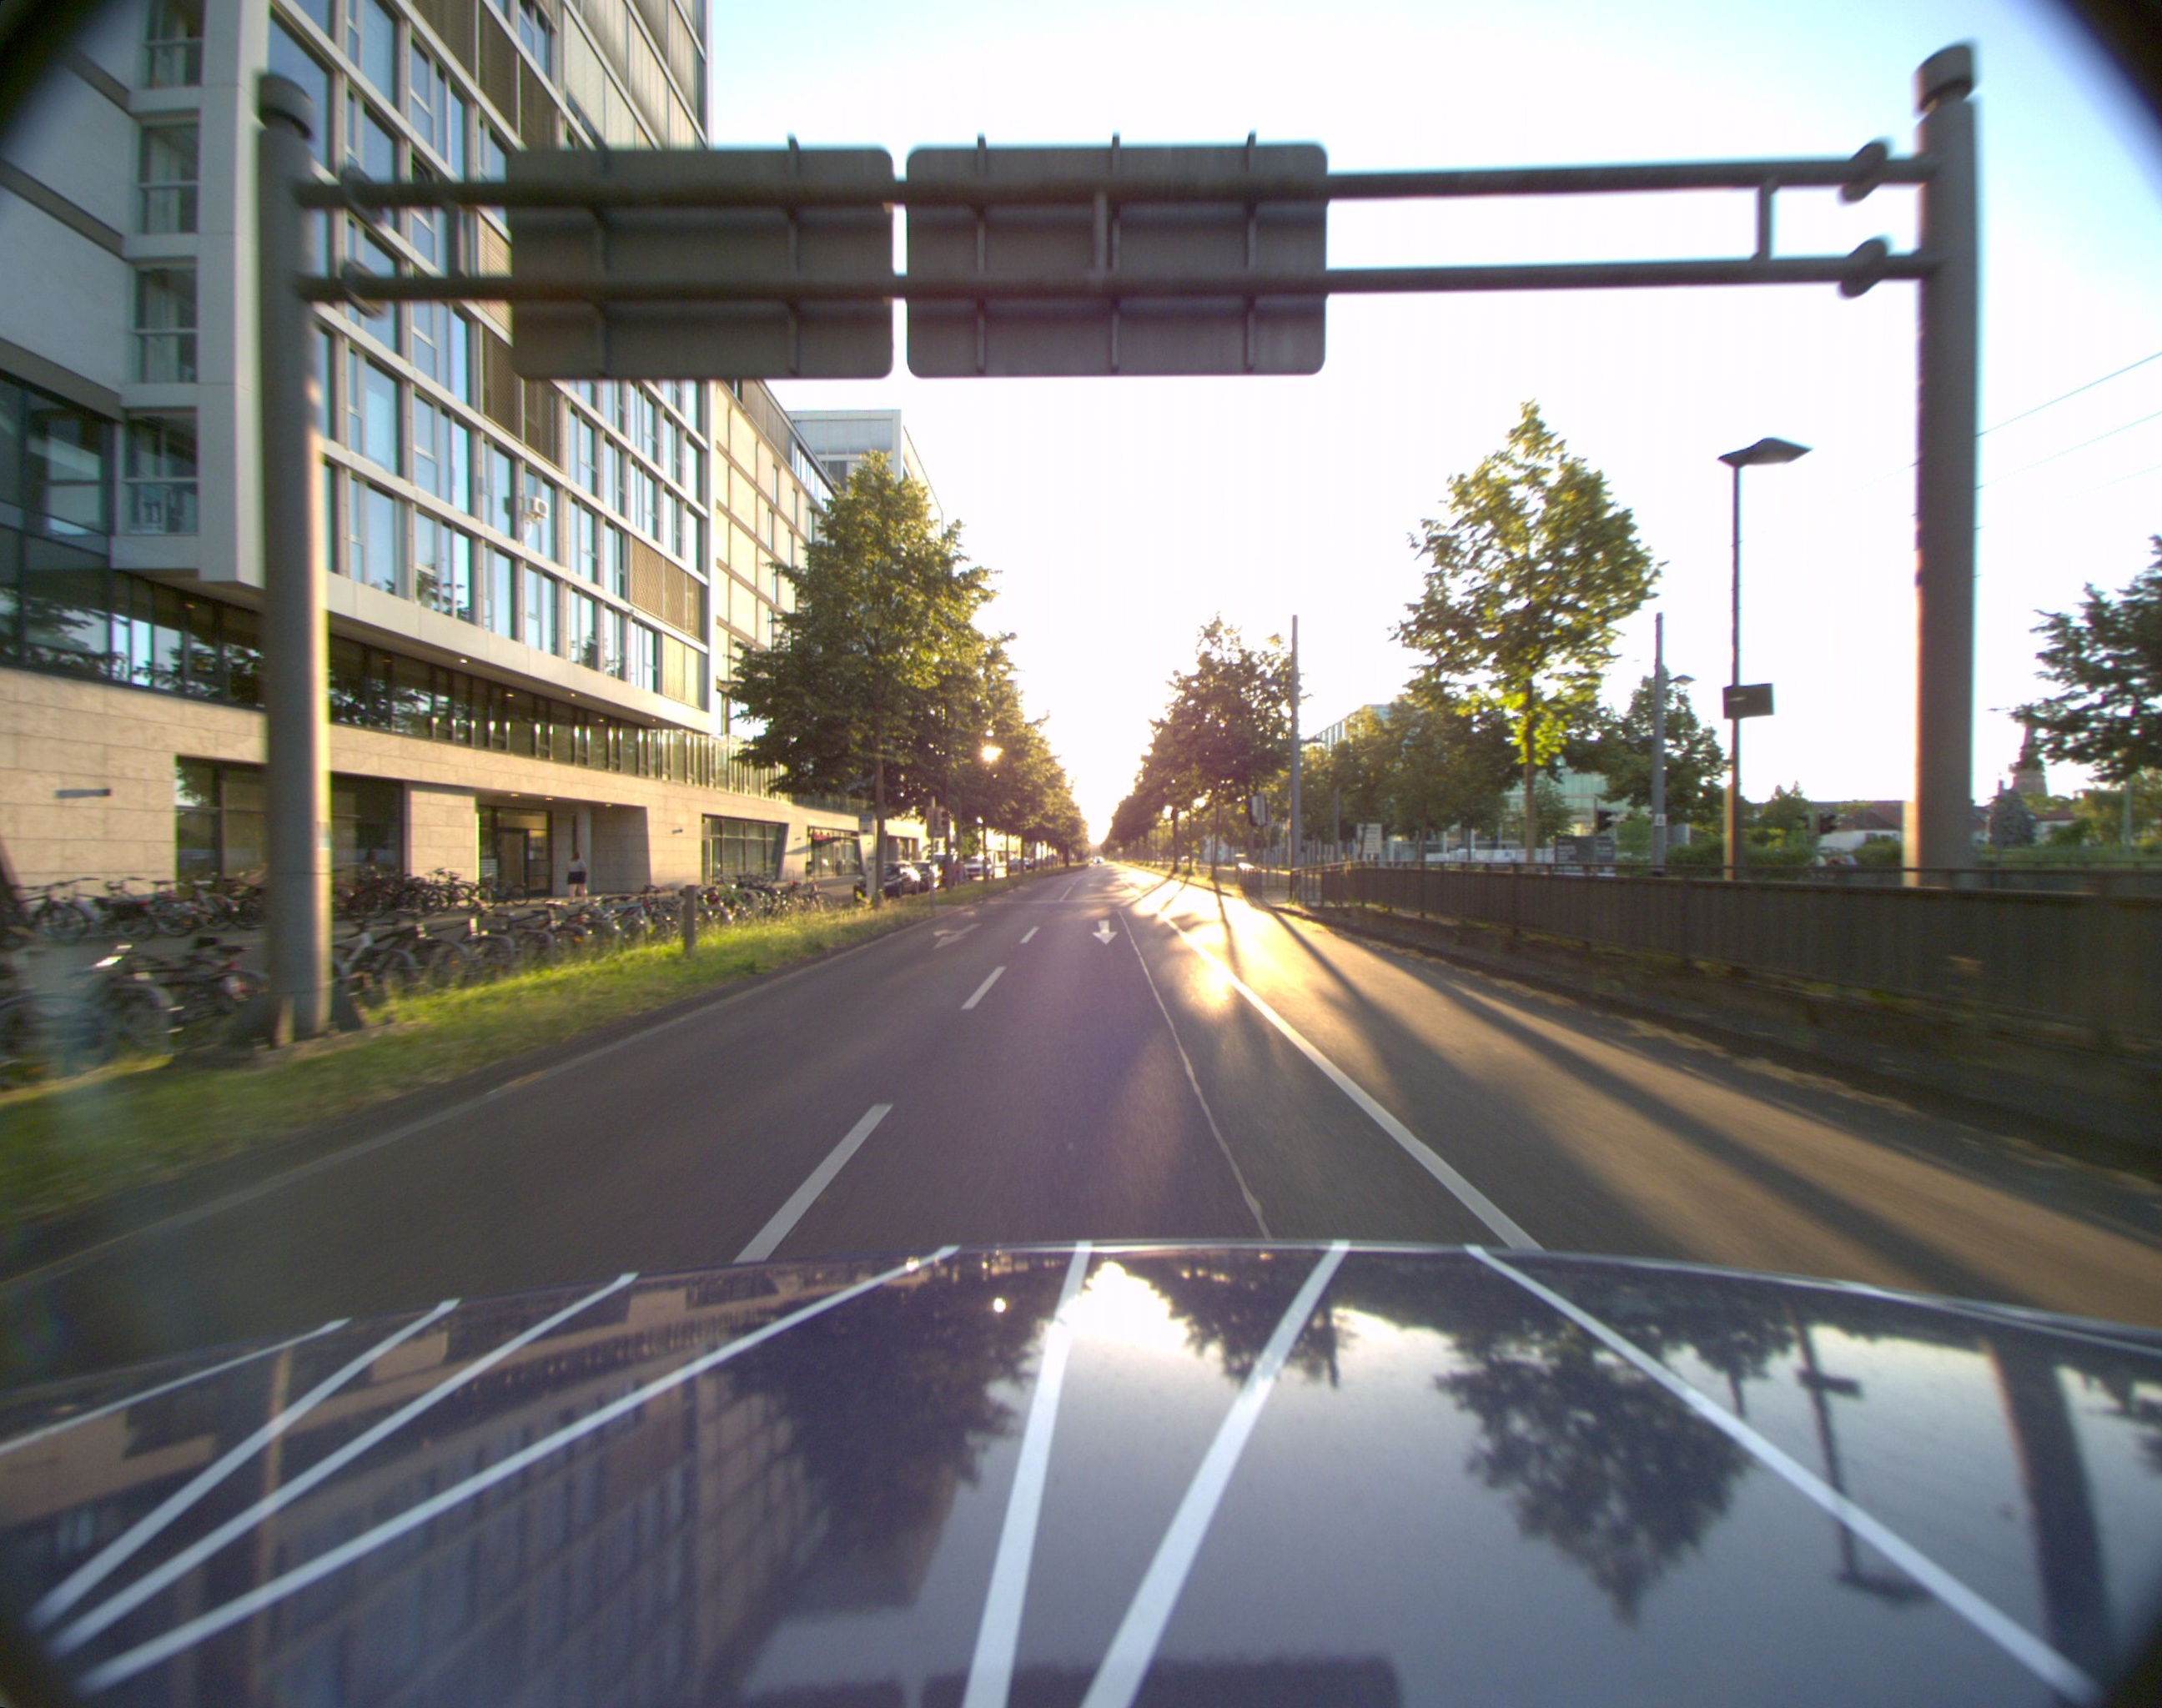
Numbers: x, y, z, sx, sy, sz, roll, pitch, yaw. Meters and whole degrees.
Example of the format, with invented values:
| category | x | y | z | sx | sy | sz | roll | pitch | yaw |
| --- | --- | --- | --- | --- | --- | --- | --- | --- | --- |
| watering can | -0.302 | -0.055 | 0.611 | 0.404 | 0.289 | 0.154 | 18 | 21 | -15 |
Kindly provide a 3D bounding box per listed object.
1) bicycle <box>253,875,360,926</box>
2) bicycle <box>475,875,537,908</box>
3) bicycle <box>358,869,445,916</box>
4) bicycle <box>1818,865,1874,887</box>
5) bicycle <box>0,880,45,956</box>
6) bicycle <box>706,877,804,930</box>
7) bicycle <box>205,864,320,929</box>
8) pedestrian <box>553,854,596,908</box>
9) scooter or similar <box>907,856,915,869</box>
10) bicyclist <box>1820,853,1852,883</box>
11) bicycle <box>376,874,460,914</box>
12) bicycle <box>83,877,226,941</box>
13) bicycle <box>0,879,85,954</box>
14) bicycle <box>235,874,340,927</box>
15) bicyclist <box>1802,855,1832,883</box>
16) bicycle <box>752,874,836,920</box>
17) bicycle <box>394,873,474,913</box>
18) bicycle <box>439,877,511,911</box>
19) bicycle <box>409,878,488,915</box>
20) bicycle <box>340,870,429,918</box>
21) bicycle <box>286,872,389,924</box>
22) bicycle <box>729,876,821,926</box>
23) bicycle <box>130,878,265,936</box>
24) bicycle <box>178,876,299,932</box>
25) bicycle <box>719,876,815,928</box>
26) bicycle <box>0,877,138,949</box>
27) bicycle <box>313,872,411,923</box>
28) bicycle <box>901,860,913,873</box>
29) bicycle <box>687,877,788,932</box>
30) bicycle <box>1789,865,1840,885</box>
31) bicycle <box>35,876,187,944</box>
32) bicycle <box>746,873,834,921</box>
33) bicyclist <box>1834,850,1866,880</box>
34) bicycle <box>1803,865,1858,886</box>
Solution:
| category | x | y | z | sx | sy | sz | roll | pitch | yaw |
| --- | --- | --- | --- | --- | --- | --- | --- | --- | --- |
| bicycle | -17.400 | 1.036 | 17.090 | 1.835 | 1.106 | 0.503 | 0 | 1 | -2 |
| bicycle | -17.407 | 1.137 | 23.016 | 1.579 | 0.981 | 0.404 | 0 | 1 | 2 |
| bicycle | -17.311 | 0.984 | 19.376 | 1.835 | 1.170 | 0.446 | 0 | 1 | 2 |
| bicycle | 37.731 | 1.082 | 37.510 | 0.621 | 1.005 | 2.083 | 0 | 0 | -1 |
| bicycle | -17.398 | 0.988 | 11.747 | 1.988 | 1.135 | 0.503 | 0 | 1 | -2 |
| bicycle | -7.416 | 1.109 | 17.337 | 1.947 | 1.048 | 0.408 | -4 | 1 | -6 |
| bicycle | -17.317 | 0.886 | 16.097 | 1.835 | 1.349 | 0.503 | 0 | 1 | -2 |
| pedestrian | -15.574 | 0.811 | 23.382 | 0.644 | 1.639 | 0.953 | 0 | 0 | 0 |
| scooter or similar | -16.607 | 0.831 | 74.252 | 0.473 | 1.204 | 1.229 | 0 | 0 | 2 |
| bicyclist | 37.049 | 0.700 | 37.278 | 0.621 | 1.448 | 0.937 | 0 | 1 | -1 |
| bicycle | -17.335 | 1.042 | 19.891 | 1.835 | 1.041 | 0.446 | 0 | 1 | 2 |
| bicycle | -17.273 | 1.016 | 14.188 | 1.988 | 1.134 | 0.503 | 0 | 1 | -2 |
| bicycle | -17.146 | 0.983 | 12.038 | 1.988 | 1.135 | 0.503 | 0 | 1 | -2 |
| bicycle | -17.331 | 1.013 | 16.601 | 1.835 | 1.118 | 0.372 | 0 | 1 | -2 |
| bicyclist | 38.268 | 0.775 | 39.497 | 0.621 | 1.413 | 0.937 | 0 | 1 | -1 |
| bicycle | -7.486 | 1.111 | 19.877 | 1.949 | 1.048 | 0.544 | -4 | 0 | -13 |
| bicycle | -17.349 | 1.043 | 20.378 | 1.835 | 1.051 | 0.404 | 0 | 1 | 2 |
| bicycle | -17.225 | 1.140 | 21.620 | 1.748 | 0.947 | 0.404 | 0 | 1 | 2 |
| bicycle | -17.305 | 1.154 | 20.799 | 1.835 | 0.981 | 0.404 | 0 | 1 | 2 |
| bicycle | -17.282 | 0.978 | 18.867 | 1.835 | 1.170 | 0.446 | 0 | 1 | 2 |
| bicycle | -17.313 | 1.009 | 17.708 | 1.835 | 1.170 | 0.503 | 0 | 1 | -2 |
| bicycle | -7.441 | 1.125 | 18.533 | 1.948 | 1.048 | 0.545 | -4 | 0 | -9 |
| bicycle | -17.258 | 1.020 | 14.860 | 1.988 | 1.093 | 0.503 | 0 | 1 | -2 |
| bicycle | -17.217 | 1.017 | 15.545 | 1.835 | 1.115 | 0.503 | 0 | 1 | -2 |
| bicycle | -7.362 | 1.119 | 17.854 | 1.947 | 1.048 | 0.545 | -4 | 0 | -6 |
| bicycle | -17.188 | 0.979 | 12.768 | 1.988 | 1.161 | 0.503 | 0 | 1 | -2 |
| bicycle | -17.286 | 1.036 | 18.286 | 1.835 | 1.170 | 0.503 | 0 | 1 | -2 |
| bicycle | -14.400 | 1.024 | 62.944 | 0.471 | 1.033 | 1.807 | 0 | 0 | 2 |
| bicycle | -7.606 | 1.110 | 16.872 | 1.947 | 1.048 | 0.408 | -4 | 1 | -6 |
| bicycle | 38.277 | 1.070 | 39.670 | 0.621 | 1.005 | 2.083 | 0 | 0 | -1 |
| bicycle | -17.330 | 0.986 | 13.596 | 1.988 | 1.175 | 0.503 | 0 | 1 | -2 |
| bicycle | -7.339 | 1.081 | 19.225 | 1.949 | 1.048 | 0.544 | -4 | 0 | -13 |
| bicyclist | 37.738 | 0.535 | 37.304 | 0.621 | 1.448 | 0.937 | 0 | 1 | -1 |
| bicycle | 37.051 | 1.041 | 37.592 | 0.621 | 1.005 | 2.083 | 0 | 0 | -1 |
